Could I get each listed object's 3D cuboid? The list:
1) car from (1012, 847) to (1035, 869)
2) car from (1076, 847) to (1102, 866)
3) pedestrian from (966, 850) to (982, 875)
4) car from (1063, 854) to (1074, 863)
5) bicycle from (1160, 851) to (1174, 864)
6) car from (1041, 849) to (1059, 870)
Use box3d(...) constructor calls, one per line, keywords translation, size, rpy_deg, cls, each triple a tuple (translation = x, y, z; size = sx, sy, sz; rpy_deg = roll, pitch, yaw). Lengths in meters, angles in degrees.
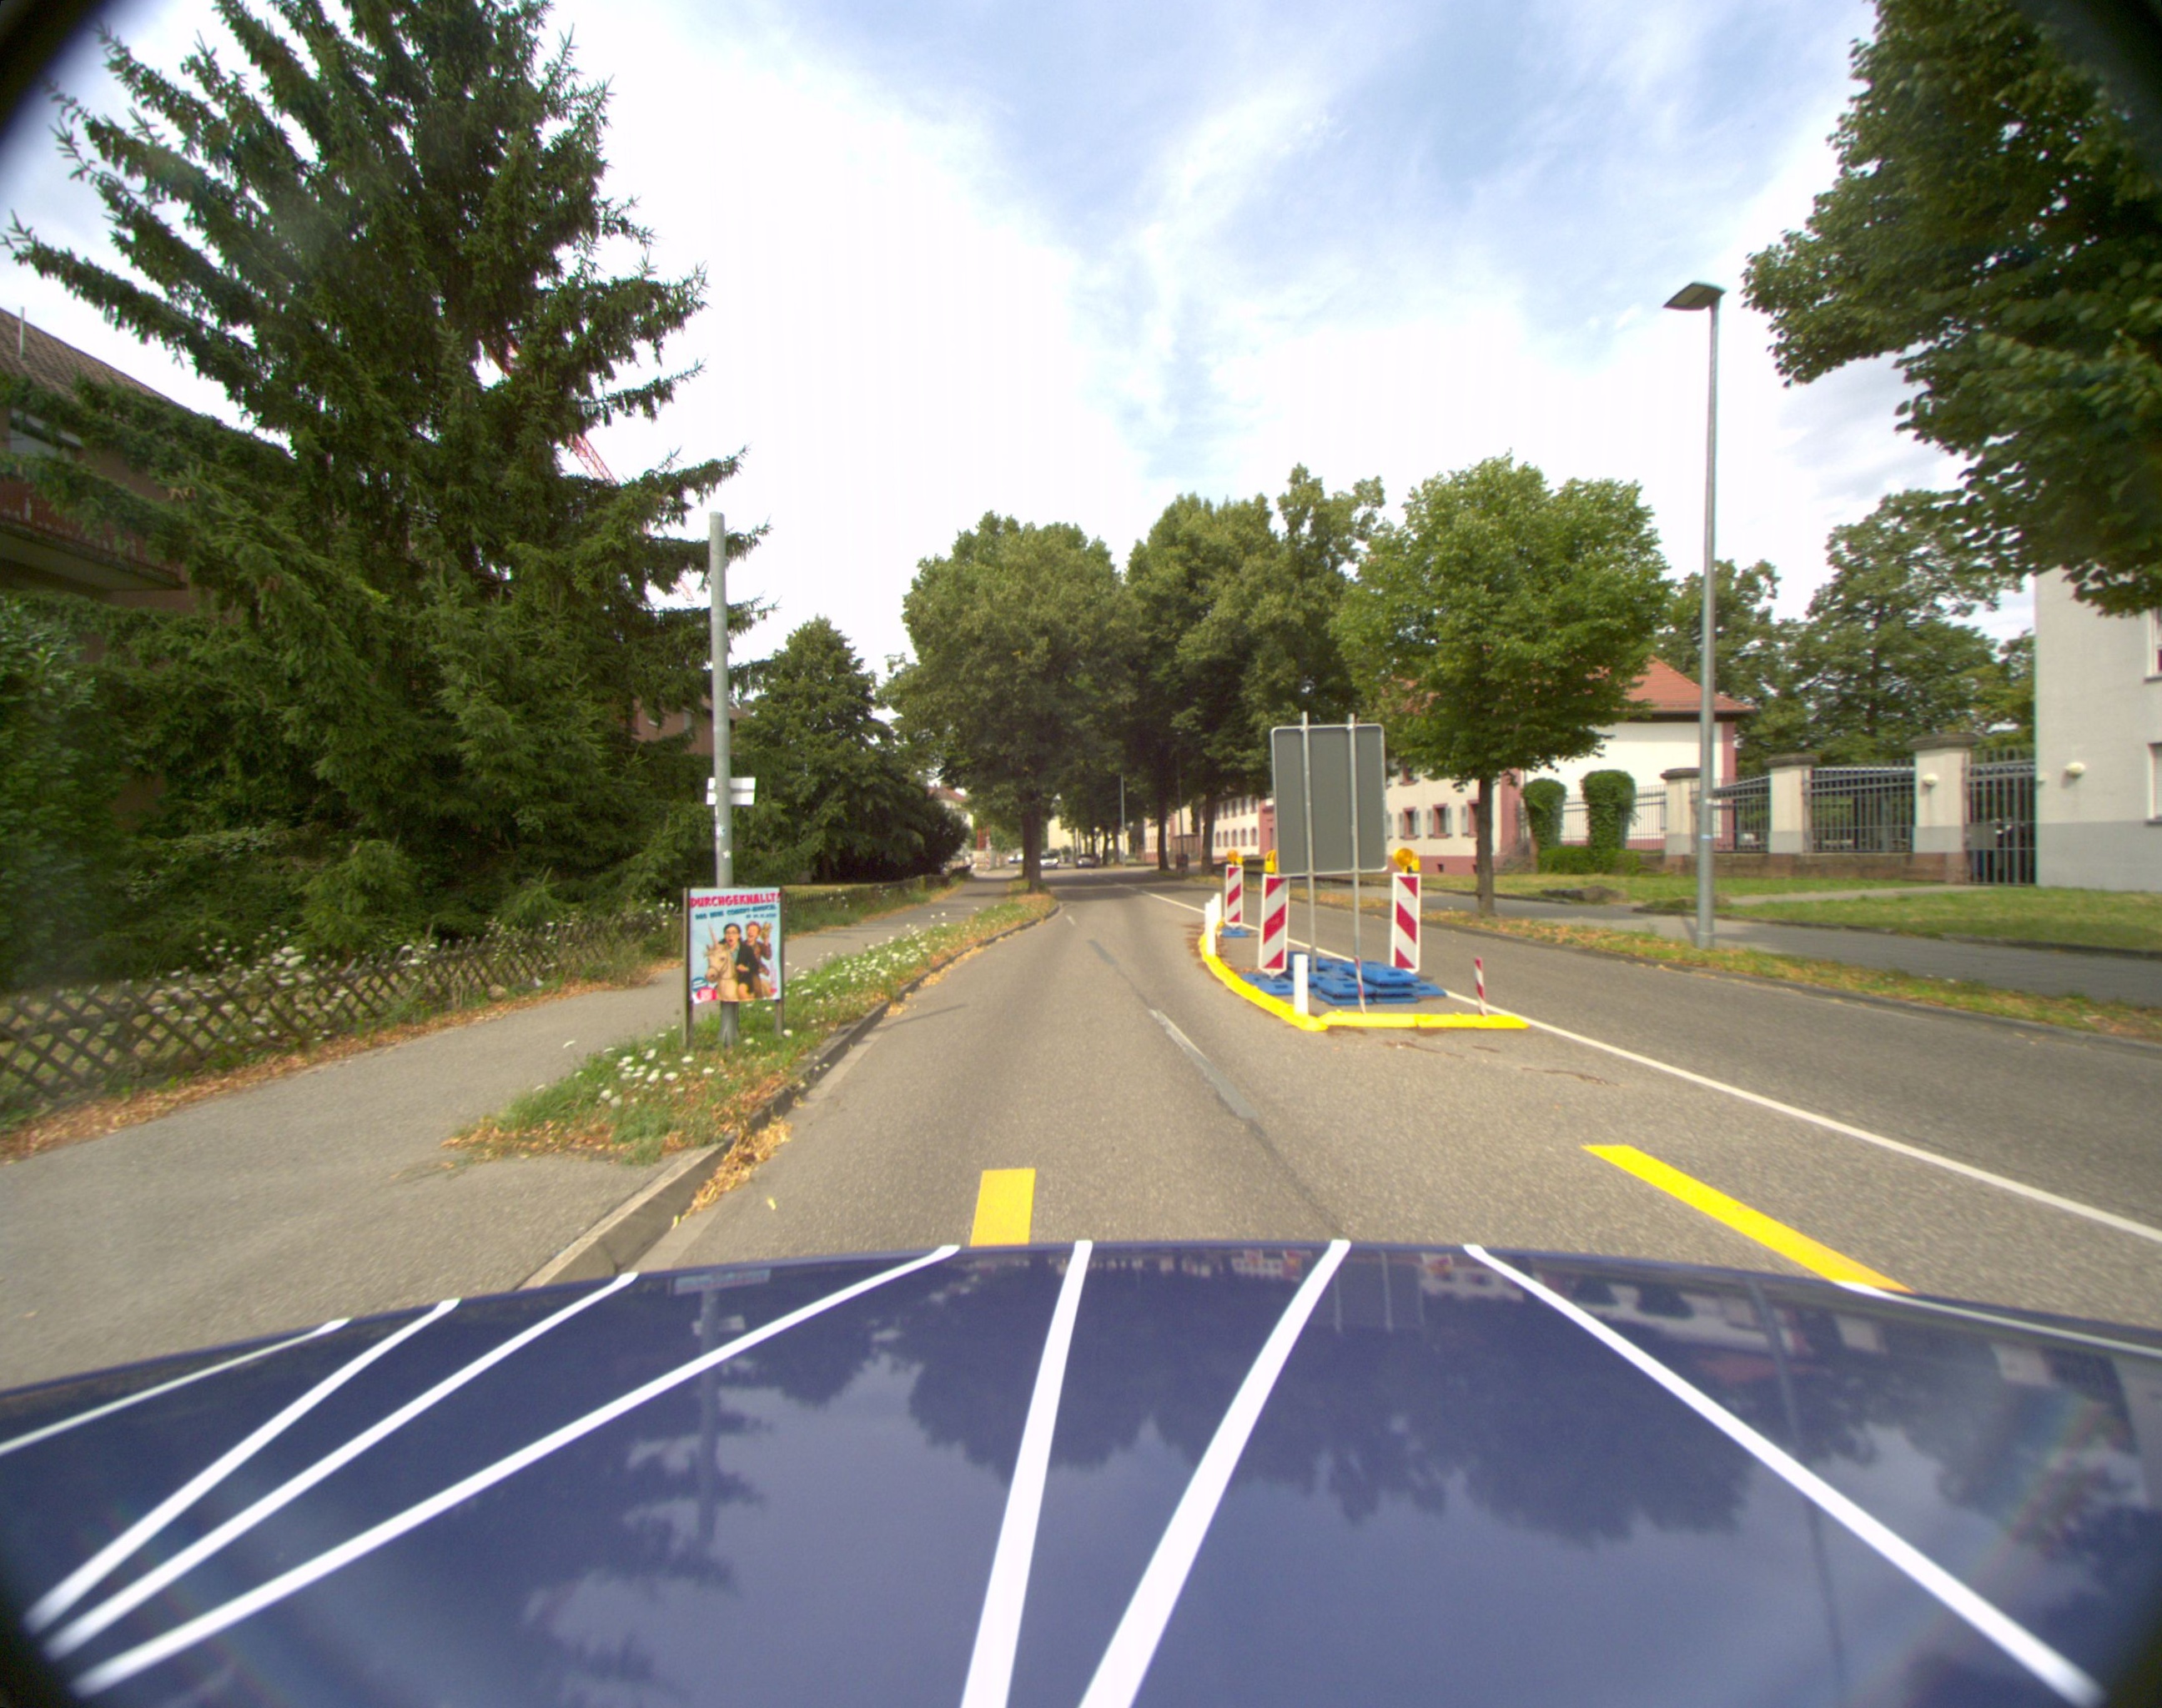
box3d(translation=(-5.525, 0.398, 72.722), size=(2.000, 2.002, 3.997), rpy_deg=(0, 0, -8), cls="car")
box3d(translation=(0.708, 0.269, 69.528), size=(2.010, 1.433, 4.386), rpy_deg=(0, -3, -4), cls="car")
box3d(translation=(-7.746, 0.602, 55.159), size=(0.883, 1.803, 0.889), rpy_deg=(1, 0, 14), cls="pedestrian")
box3d(translation=(-2.891, 1.029, 171.464), size=(1.954, 1.992, 4.841), rpy_deg=(-2, 0, -6), cls="car")
box3d(translation=(7.647, 0.287, 67.846), size=(0.725, 1.089, 2.224), rpy_deg=(-5, 0, -5), cls="bicycle")
box3d(translation=(-3.001, 0.583, 73.362), size=(1.677, 1.710, 4.388), rpy_deg=(0, -4, -2), cls="car")
